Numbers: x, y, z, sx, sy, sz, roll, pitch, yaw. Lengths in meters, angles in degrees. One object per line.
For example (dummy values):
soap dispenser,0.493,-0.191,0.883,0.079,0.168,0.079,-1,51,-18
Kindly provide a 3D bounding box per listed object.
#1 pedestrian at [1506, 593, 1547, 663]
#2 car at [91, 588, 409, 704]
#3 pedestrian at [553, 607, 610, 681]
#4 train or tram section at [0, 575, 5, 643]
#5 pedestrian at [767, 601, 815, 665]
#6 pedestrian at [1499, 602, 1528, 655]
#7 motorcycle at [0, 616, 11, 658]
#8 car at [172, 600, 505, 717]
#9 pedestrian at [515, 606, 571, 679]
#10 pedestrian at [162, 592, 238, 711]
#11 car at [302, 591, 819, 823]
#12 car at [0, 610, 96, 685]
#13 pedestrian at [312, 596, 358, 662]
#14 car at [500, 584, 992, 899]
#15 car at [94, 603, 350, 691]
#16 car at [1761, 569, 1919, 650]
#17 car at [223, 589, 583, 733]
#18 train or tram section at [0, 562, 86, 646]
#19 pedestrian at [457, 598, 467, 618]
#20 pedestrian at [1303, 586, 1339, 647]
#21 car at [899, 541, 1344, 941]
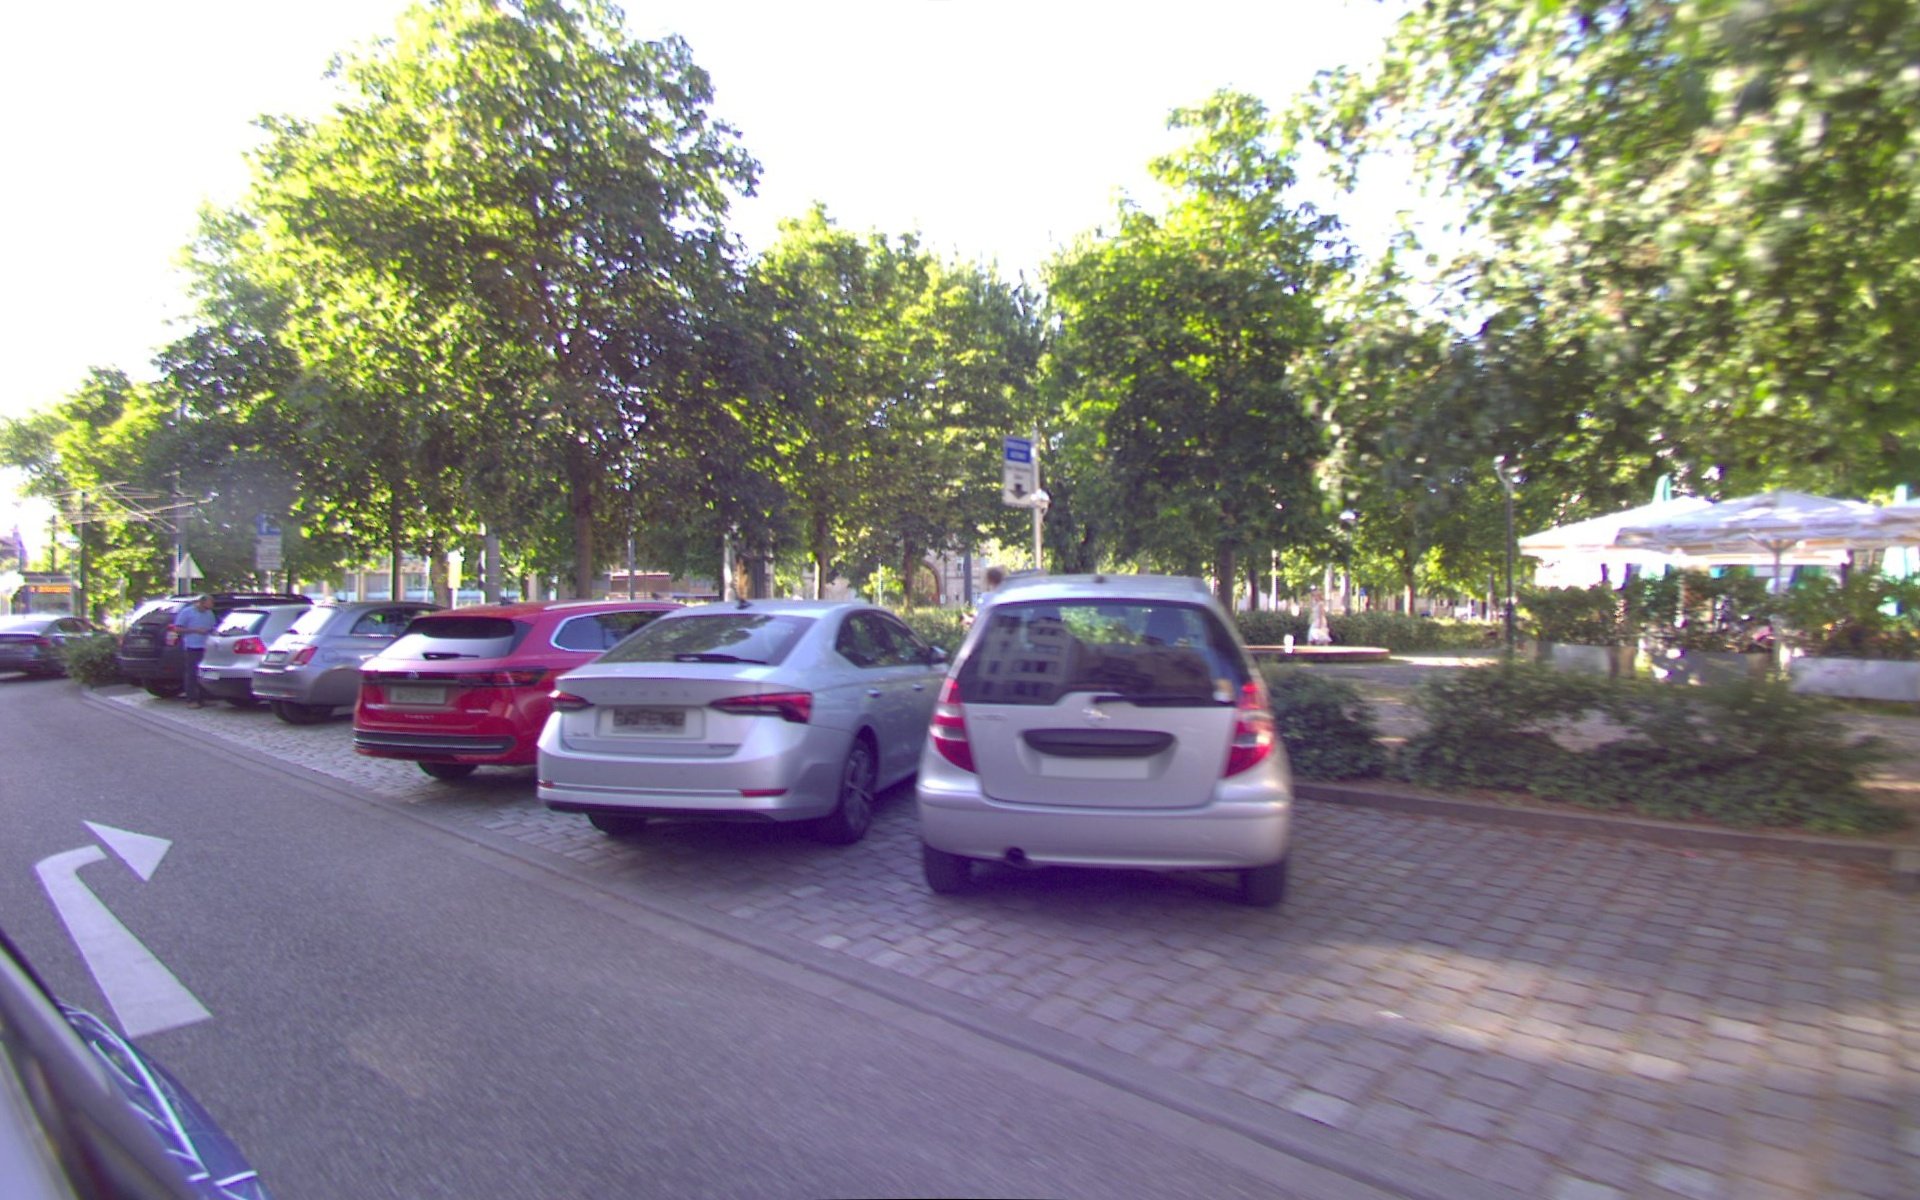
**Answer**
pedestrian,13.039,0.628,23.300,0.662,1.558,0.560,-1,1,-31
car,-11.866,0.679,17.216,1.989,1.680,3.965,-1,1,26
pedestrian,-6.713,0.765,17.976,0.698,1.269,0.640,0,1,27
train or tram section,-57.557,0.610,56.895,13.602,3.640,2.924,-1,-1,35
pedestrian,-4.170,0.798,25.055,0.948,1.533,0.767,0,1,11
pedestrian,13.479,0.677,24.639,0.557,1.245,0.665,0,1,34
motorcycle,-32.347,1.230,33.402,1.747,1.384,0.743,0,1,19
car,-9.283,0.763,15.439,1.797,1.459,3.957,0,1,32
pedestrian,-7.622,0.759,18.496,0.698,1.283,0.640,0,1,27
pedestrian,-10.999,0.719,14.648,0.645,1.662,0.693,0,1,35
car,-3.164,0.695,9.306,1.750,1.499,4.822,0,1,18
car,-20.820,0.985,22.566,1.886,1.427,4.822,-1,1,-35
pedestrian,-16.579,0.766,26.843,0.794,1.712,0.670,0,1,1
car,-1.064,0.658,7.143,1.719,1.488,4.216,-1,1,14
car,-14.349,0.839,20.002,1.852,1.480,3.991,-1,1,7
car,27.669,0.236,31.995,1.984,2.331,5.321,0,1,19
car,-7.368,0.685,13.773,1.744,1.610,3.956,0,1,33
train or tram section,-46.785,0.295,49.525,13.152,3.713,2.924,-1,-1,35
pedestrian,-42.927,0.684,87.219,0.546,1.628,0.676,-1,1,-10
pedestrian,8.884,0.394,24.936,0.663,1.476,0.559,-1,1,-3
car,0.985,0.529,6.168,1.811,1.598,3.987,-1,1,10
